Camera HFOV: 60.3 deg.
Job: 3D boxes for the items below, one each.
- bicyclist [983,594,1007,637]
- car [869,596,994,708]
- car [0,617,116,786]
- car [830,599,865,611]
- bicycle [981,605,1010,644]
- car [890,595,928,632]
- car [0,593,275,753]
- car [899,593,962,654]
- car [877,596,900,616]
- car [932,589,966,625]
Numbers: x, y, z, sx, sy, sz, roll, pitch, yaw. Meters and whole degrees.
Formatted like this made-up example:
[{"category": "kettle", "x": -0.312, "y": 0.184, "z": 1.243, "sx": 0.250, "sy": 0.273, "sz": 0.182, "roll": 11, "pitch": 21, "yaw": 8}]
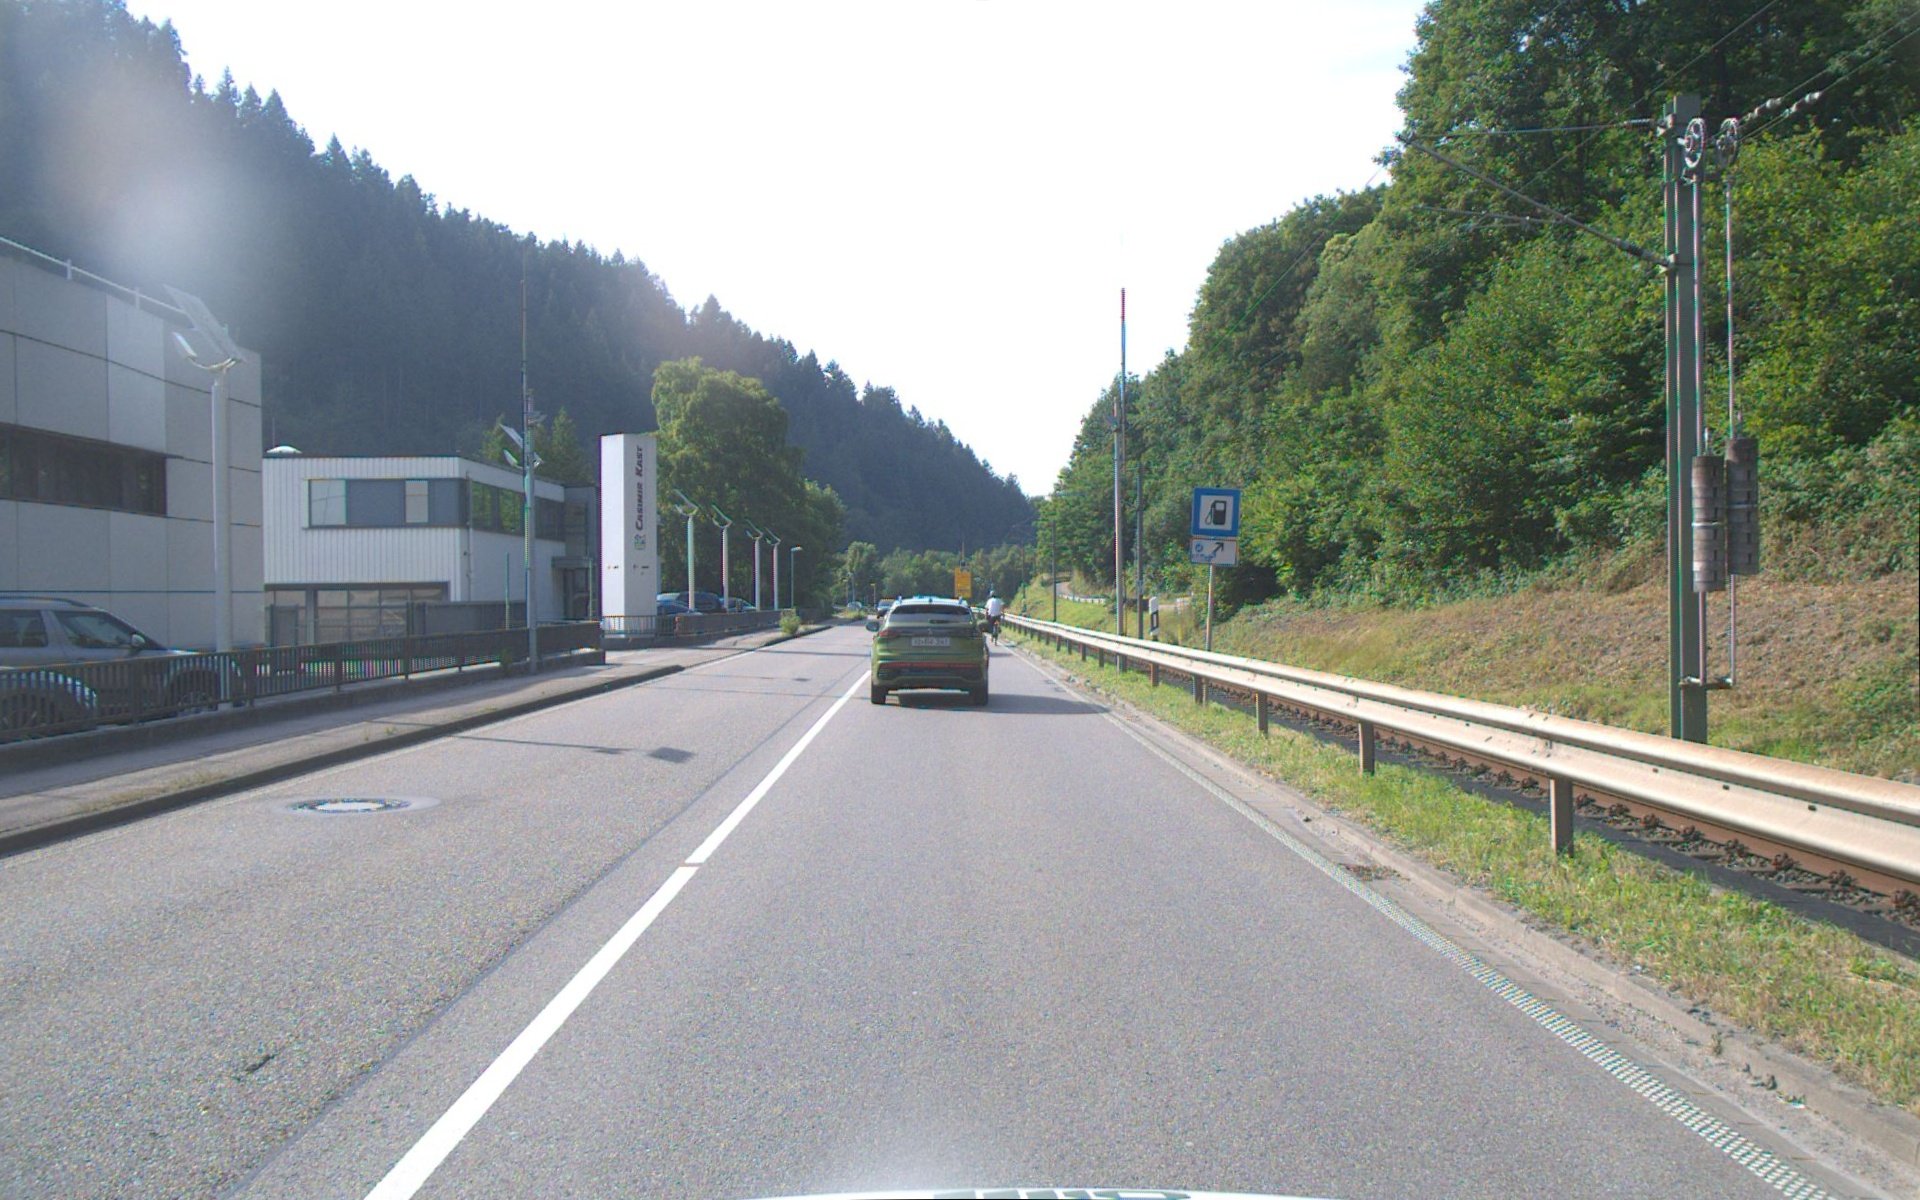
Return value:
[{"category": "bicyclist", "x": 1.171, "y": 0.512, "z": 55.404, "sx": 0.766, "sy": 1.436, "sz": 0.674, "roll": 0, "pitch": 0, "yaw": -3}, {"category": "car", "x": -0.450, "y": 0.708, "z": 24.664, "sx": 1.704, "sy": 1.534, "sz": 3.998, "roll": 0, "pitch": 0, "yaw": -2}, {"category": "car", "x": -10.268, "y": 0.942, "z": 14.836, "sx": 1.854, "sy": 1.521, "sz": 4.464, "roll": 0, "pitch": 0, "yaw": 40}, {"category": "car", "x": -13.666, "y": 0.580, "z": 201.788, "sx": 4.172, "sy": 1.458, "sz": 1.556, "roll": 0, "pitch": 0, "yaw": 0}, {"category": "bicycle", "x": 1.181, "y": 0.819, "z": 55.252, "sx": 0.795, "sy": 1.272, "sz": 2.121, "roll": 0, "pitch": 0, "yaw": -3}, {"category": "car", "x": -2.327, "y": 0.597, "z": 75.690, "sx": 1.704, "sy": 1.630, "sz": 3.998, "roll": 1, "pitch": 0, "yaw": -2}, {"category": "car", "x": -10.373, "y": 0.790, "z": 19.282, "sx": 1.749, "sy": 1.738, "sz": 4.088, "roll": 0, "pitch": 0, "yaw": 40}, {"category": "car", "x": -0.870, "y": 0.639, "z": 47.182, "sx": 1.704, "sy": 1.630, "sz": 3.998, "roll": 1, "pitch": 0, "yaw": -2}, {"category": "car", "x": -5.556, "y": 0.450, "z": 128.572, "sx": 1.643, "sy": 1.511, "sz": 4.245, "roll": 2, "pitch": 0, "yaw": -1}, {"category": "car", "x": -0.674, "y": 0.416, "z": 96.915, "sx": 1.953, "sy": 2.049, "sz": 3.999, "roll": 0, "pitch": 0, "yaw": -1}]
